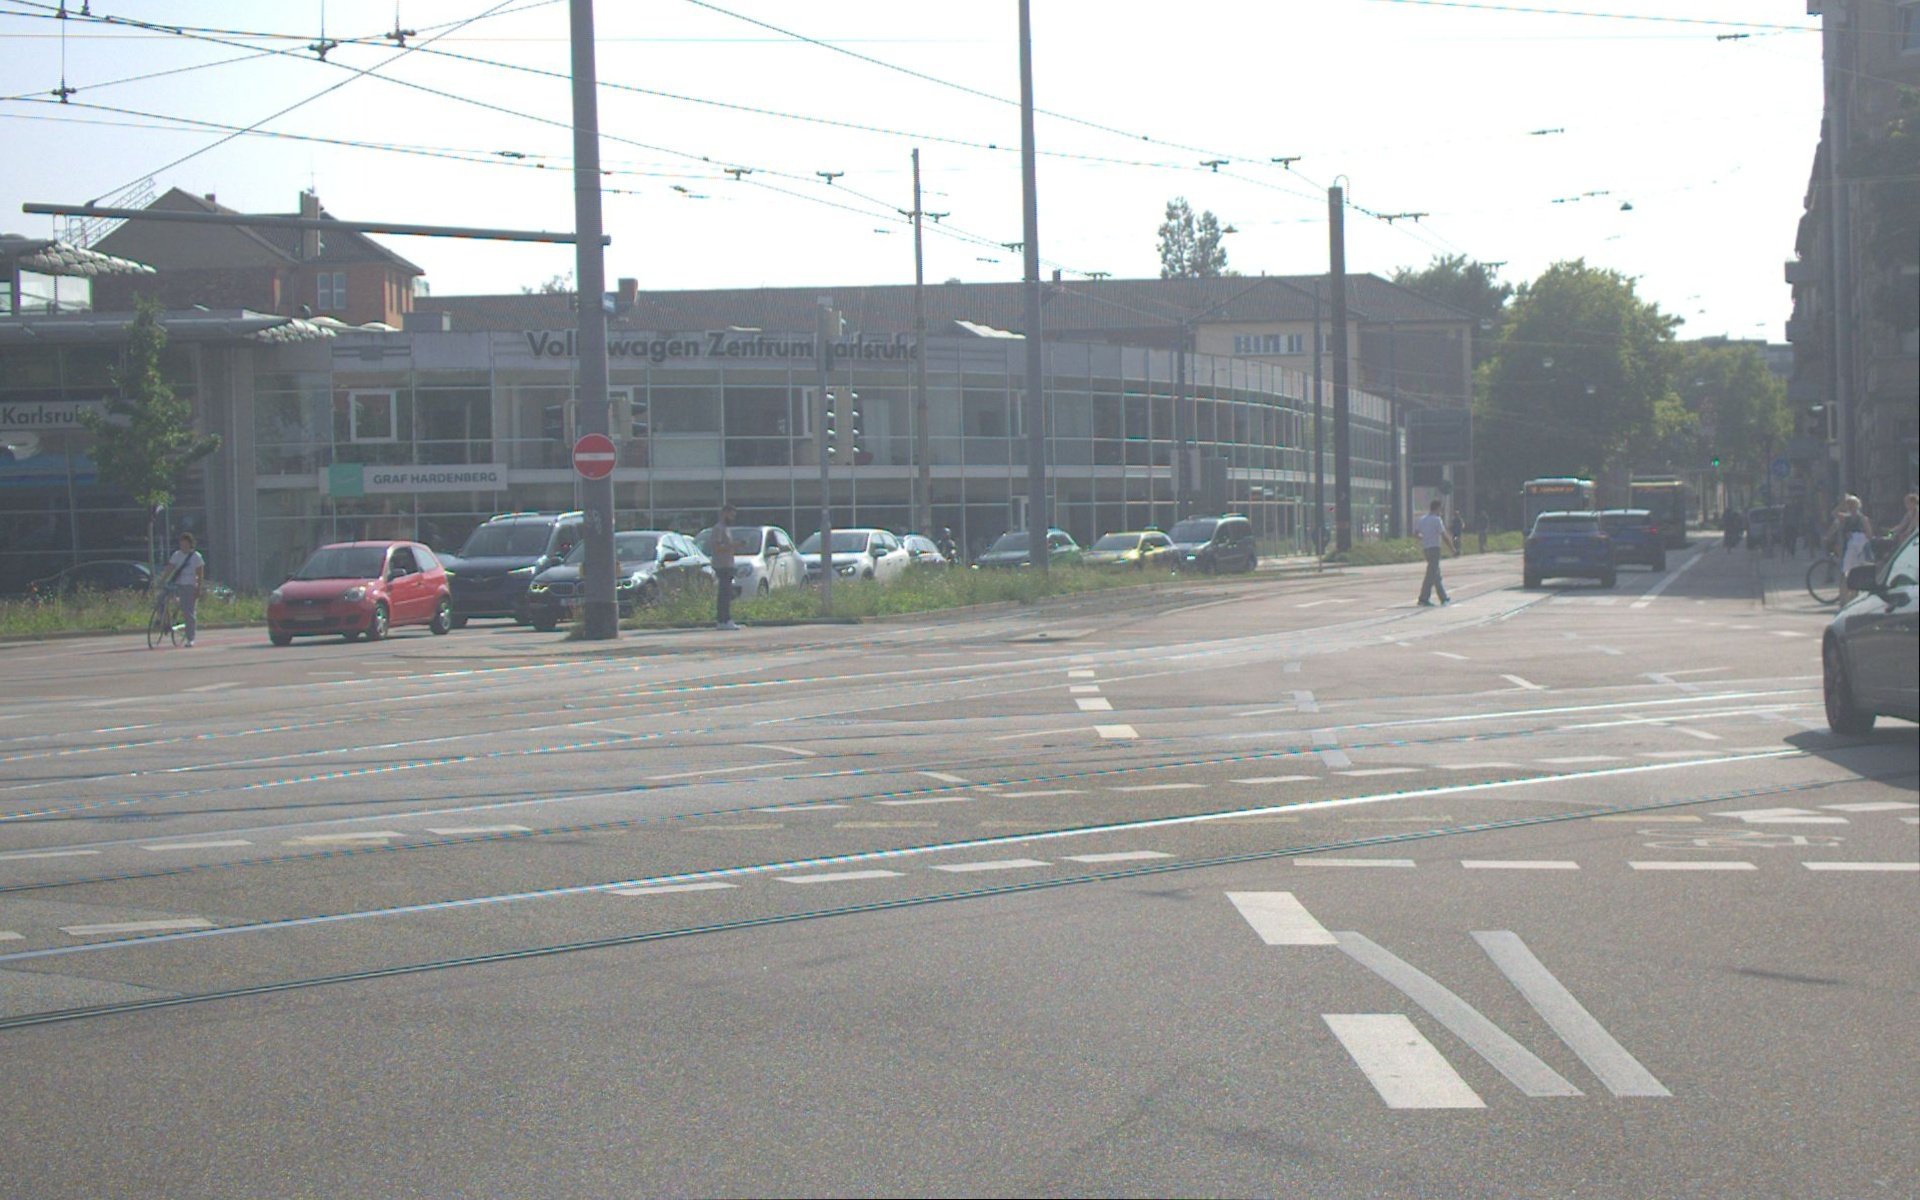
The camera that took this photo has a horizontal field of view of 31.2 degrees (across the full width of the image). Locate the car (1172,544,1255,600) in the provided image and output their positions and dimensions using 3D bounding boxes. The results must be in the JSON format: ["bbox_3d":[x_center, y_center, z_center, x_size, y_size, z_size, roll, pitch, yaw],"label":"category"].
[{"bbox_3d":[7.172,-0.799,97.005,1.615,1.470,3.998,-3,1,14],"label":"car"}]

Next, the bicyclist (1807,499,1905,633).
[{"bbox_3d":[13.736,-0.521,52.717,0.934,2.017,1.092,-2,1,-39],"label":"bicyclist"}]

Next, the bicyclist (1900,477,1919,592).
[{"bbox_3d":[14.717,-0.977,51.051,0.934,1.702,1.092,-2,1,-39],"label":"bicyclist"}]

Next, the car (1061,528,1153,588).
[{"bbox_3d":[3.928,-1.128,91.076,1.615,1.470,3.998,-3,1,14],"label":"car"}]

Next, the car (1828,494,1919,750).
[{"bbox_3d":[6.238,0.101,19.614,1.683,1.437,4.372,-1,1,3],"label":"car"}]

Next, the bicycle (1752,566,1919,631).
[{"bbox_3d":[14.078,-0.028,55.039,2.618,0.961,1.093,-2,1,-26],"label":"bicycle"}]

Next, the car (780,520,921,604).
[{"bbox_3d":[-2.052,-0.742,65.557,1.615,1.470,3.998,-3,1,14],"label":"car"}]

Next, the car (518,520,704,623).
[{"bbox_3d":[-5.343,-0.462,53.132,1.615,1.470,3.998,-3,1,13],"label":"car"}]

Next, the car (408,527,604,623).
[{"bbox_3d":[-7.622,-0.449,58.109,1.961,1.470,3.998,-3,1,13],"label":"car"}]

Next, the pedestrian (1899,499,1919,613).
[{"bbox_3d":[15.396,-0.697,54.019,0.925,1.791,0.859,-2,1,-43],"label":"pedestrian"}]

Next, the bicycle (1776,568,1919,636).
[{"bbox_3d":[13.781,0.020,52.752,2.619,0.961,1.093,-2,2,-39],"label":"bicycle"}]

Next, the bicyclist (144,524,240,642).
[{"bbox_3d":[-11.447,-0.259,51.247,0.958,1.742,1.165,0,1,14],"label":"bicyclist"}]

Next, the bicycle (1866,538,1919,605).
[{"bbox_3d":[14.712,-0.450,51.045,2.619,0.961,1.093,-2,2,-39],"label":"bicycle"}]

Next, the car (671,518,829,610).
[{"bbox_3d":[-3.600,-0.639,59.672,1.615,1.470,3.998,-3,1,13],"label":"car"}]

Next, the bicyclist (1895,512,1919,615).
[{"bbox_3d":[16.144,-0.608,56.585,0.934,1.674,1.093,-1,1,-26],"label":"bicyclist"}]

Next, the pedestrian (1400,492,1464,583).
[{"bbox_3d":[7.852,-1.044,57.227,0.777,1.498,0.710,-2,1,-26],"label":"pedestrian"}]

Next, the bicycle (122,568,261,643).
[{"bbox_3d":[-11.439,0.075,51.274,0.958,1.053,2.607,0,1,14],"label":"bicycle"}]

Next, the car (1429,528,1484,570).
[{"bbox_3d":[18.820,-1.951,130.163,1.615,1.470,3.998,-3,1,14],"label":"car"}]

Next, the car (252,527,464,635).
[{"bbox_3d":[-8.870,-0.305,50.945,1.615,1.470,3.998,-3,1,13],"label":"car"}]

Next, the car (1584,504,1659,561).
[{"bbox_3d":[17.249,-1.776,89.529,1.826,1.423,4.410,-1,1,12],"label":"car"}]

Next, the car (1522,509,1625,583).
[{"bbox_3d":[12.616,-1.127,70.512,1.826,1.423,4.410,-1,1,13],"label":"car"}]

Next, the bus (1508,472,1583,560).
[{"bbox_3d":[25.811,-3.648,151.011,2.922,3.606,16.739,0,1,11],"label":"bus"}]

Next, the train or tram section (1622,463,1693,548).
[{"bbox_3d":[31.796,-4.303,156.961,2.655,3.686,10.586,-1,1,9],"label":"train or tram section"}]

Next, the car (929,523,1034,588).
[{"bbox_3d":[0.550,-1.100,83.804,1.615,1.470,3.998,-3,1,14],"label":"car"}]

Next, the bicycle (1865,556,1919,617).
[{"bbox_3d":[16.321,-0.247,56.683,2.618,0.961,1.093,-2,1,-26],"label":"bicycle"}]

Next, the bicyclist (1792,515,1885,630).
[{"bbox_3d":[14.058,-0.448,55.022,0.934,1.793,1.093,-1,1,-26],"label":"bicyclist"}]
